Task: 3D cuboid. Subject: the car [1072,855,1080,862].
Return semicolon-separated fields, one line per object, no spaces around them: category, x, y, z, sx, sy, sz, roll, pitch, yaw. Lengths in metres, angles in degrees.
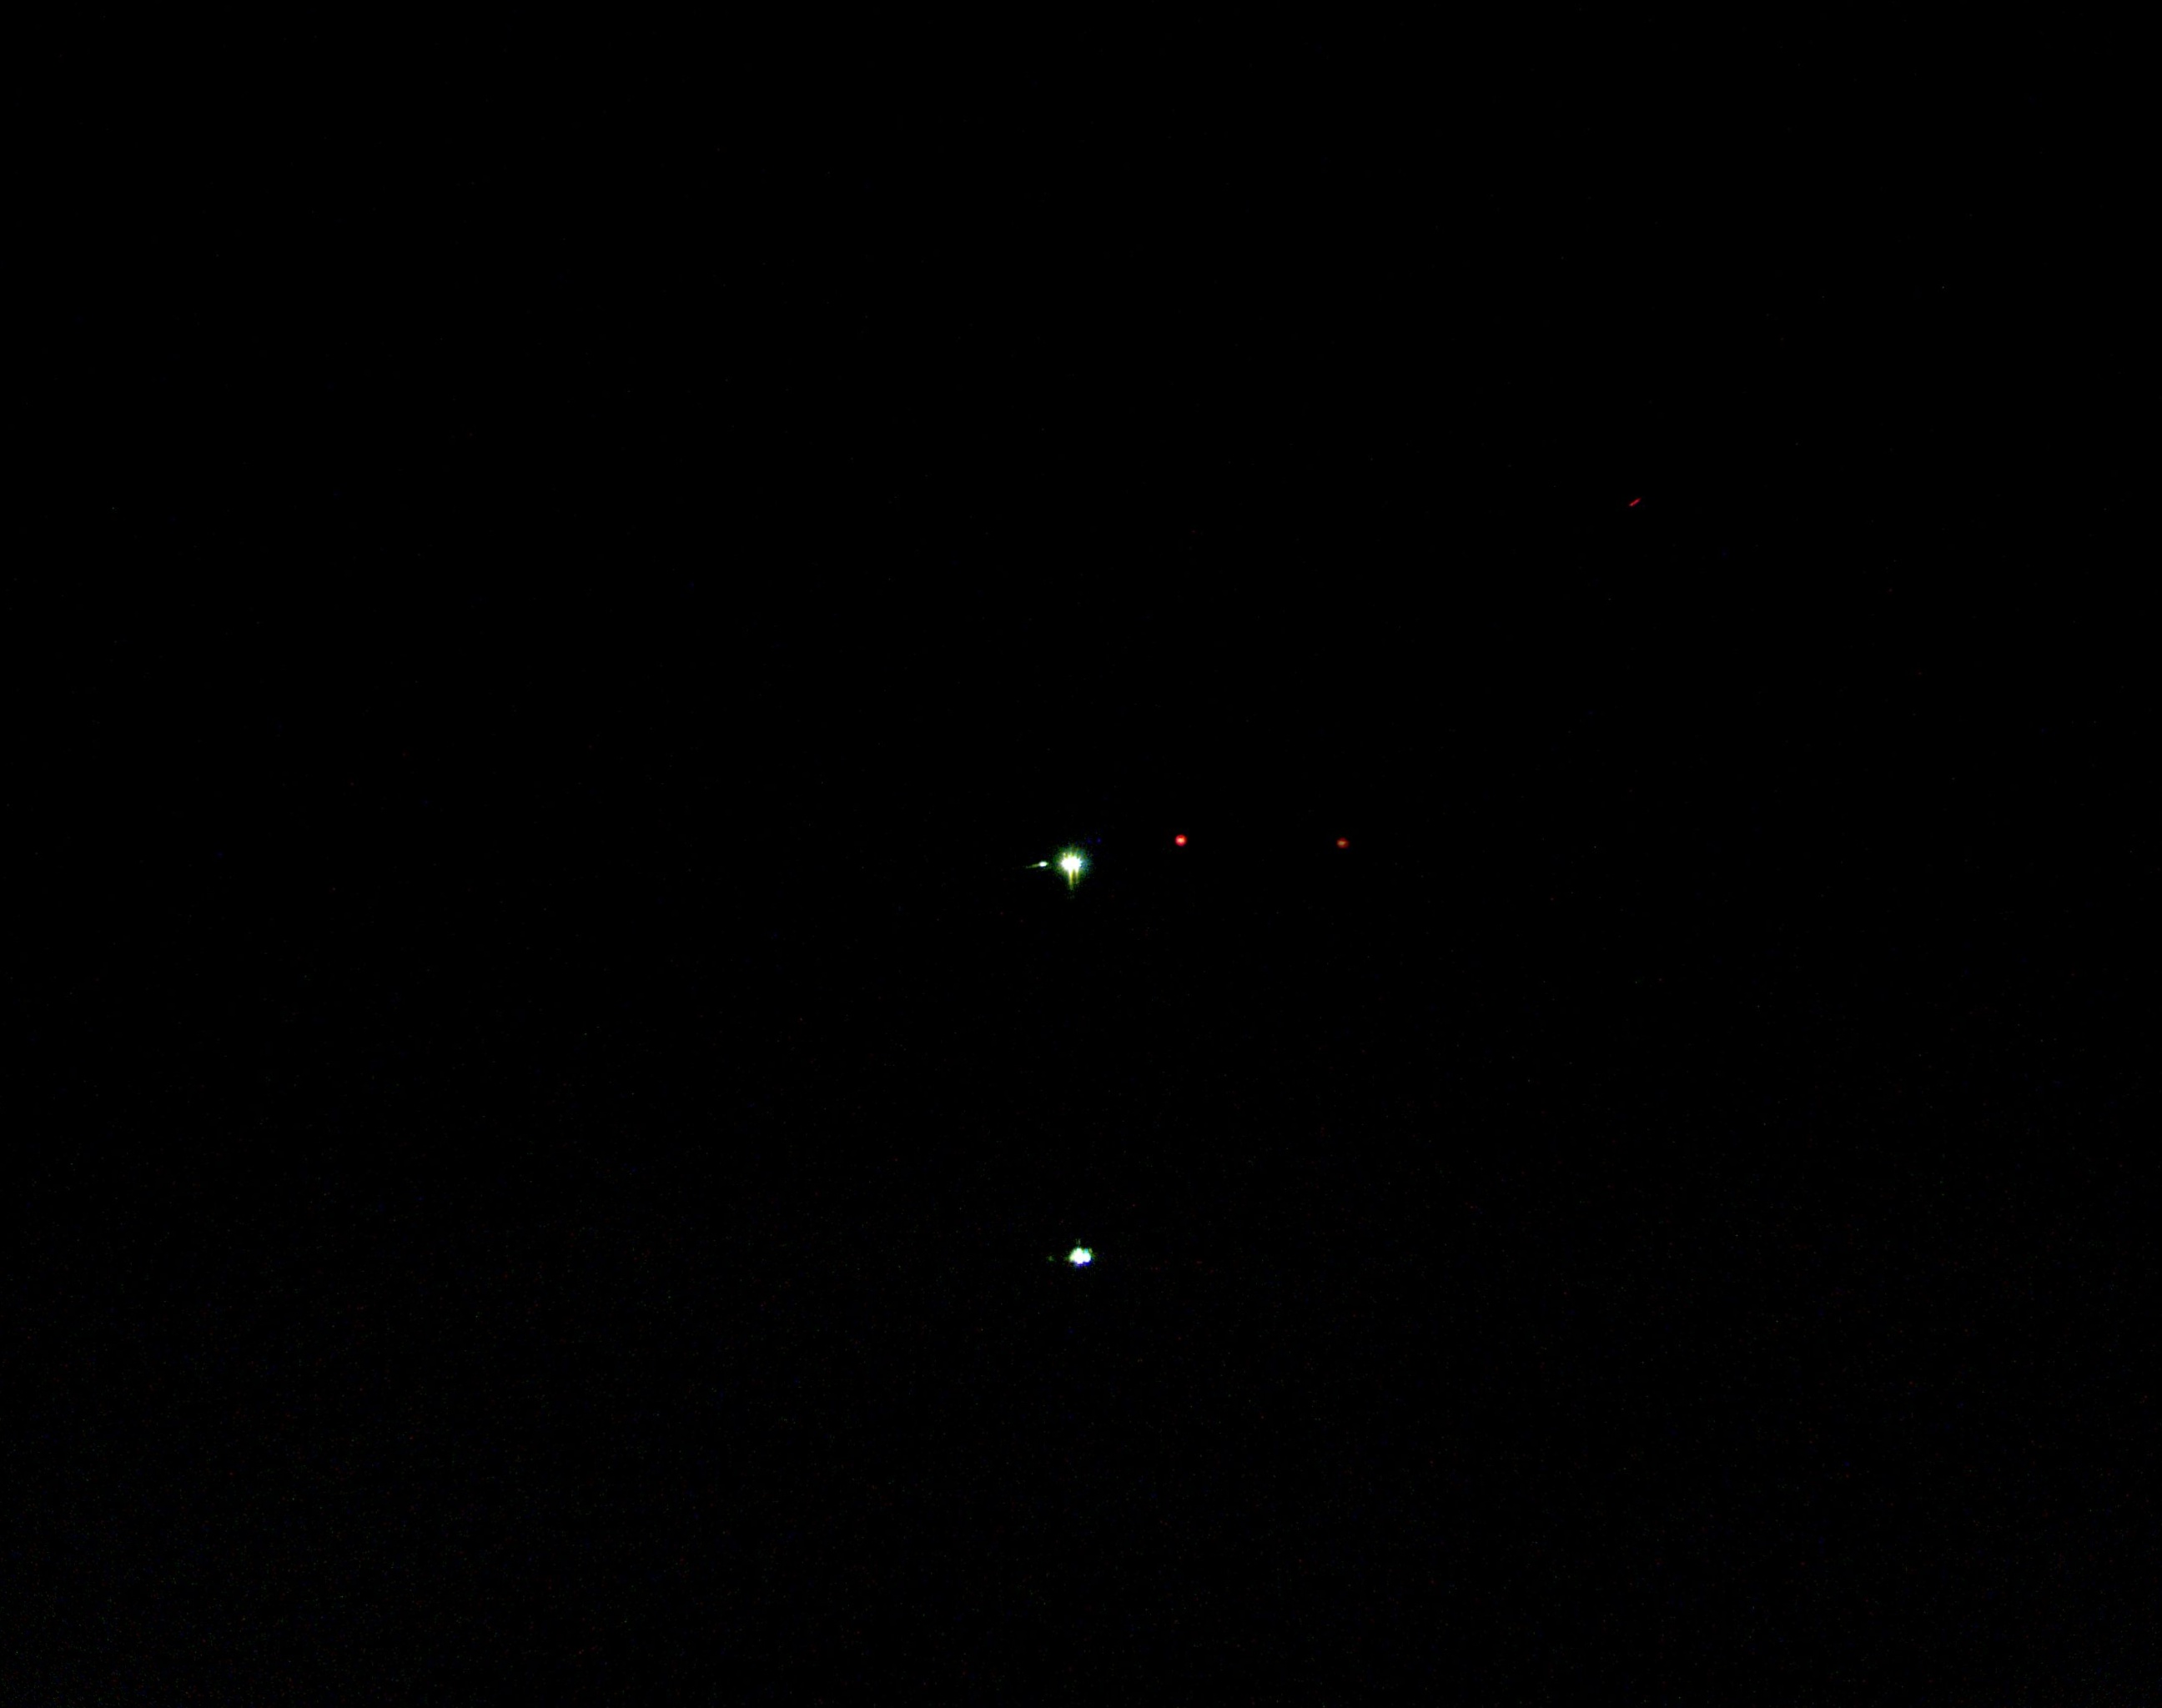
car;-1.175;1.027;178.707;1.846;1.474;4.293;-3;-1;1

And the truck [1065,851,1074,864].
truck;-4.104;1.272;264.039;3.004;3.876;12.888;-3;-1;-2
